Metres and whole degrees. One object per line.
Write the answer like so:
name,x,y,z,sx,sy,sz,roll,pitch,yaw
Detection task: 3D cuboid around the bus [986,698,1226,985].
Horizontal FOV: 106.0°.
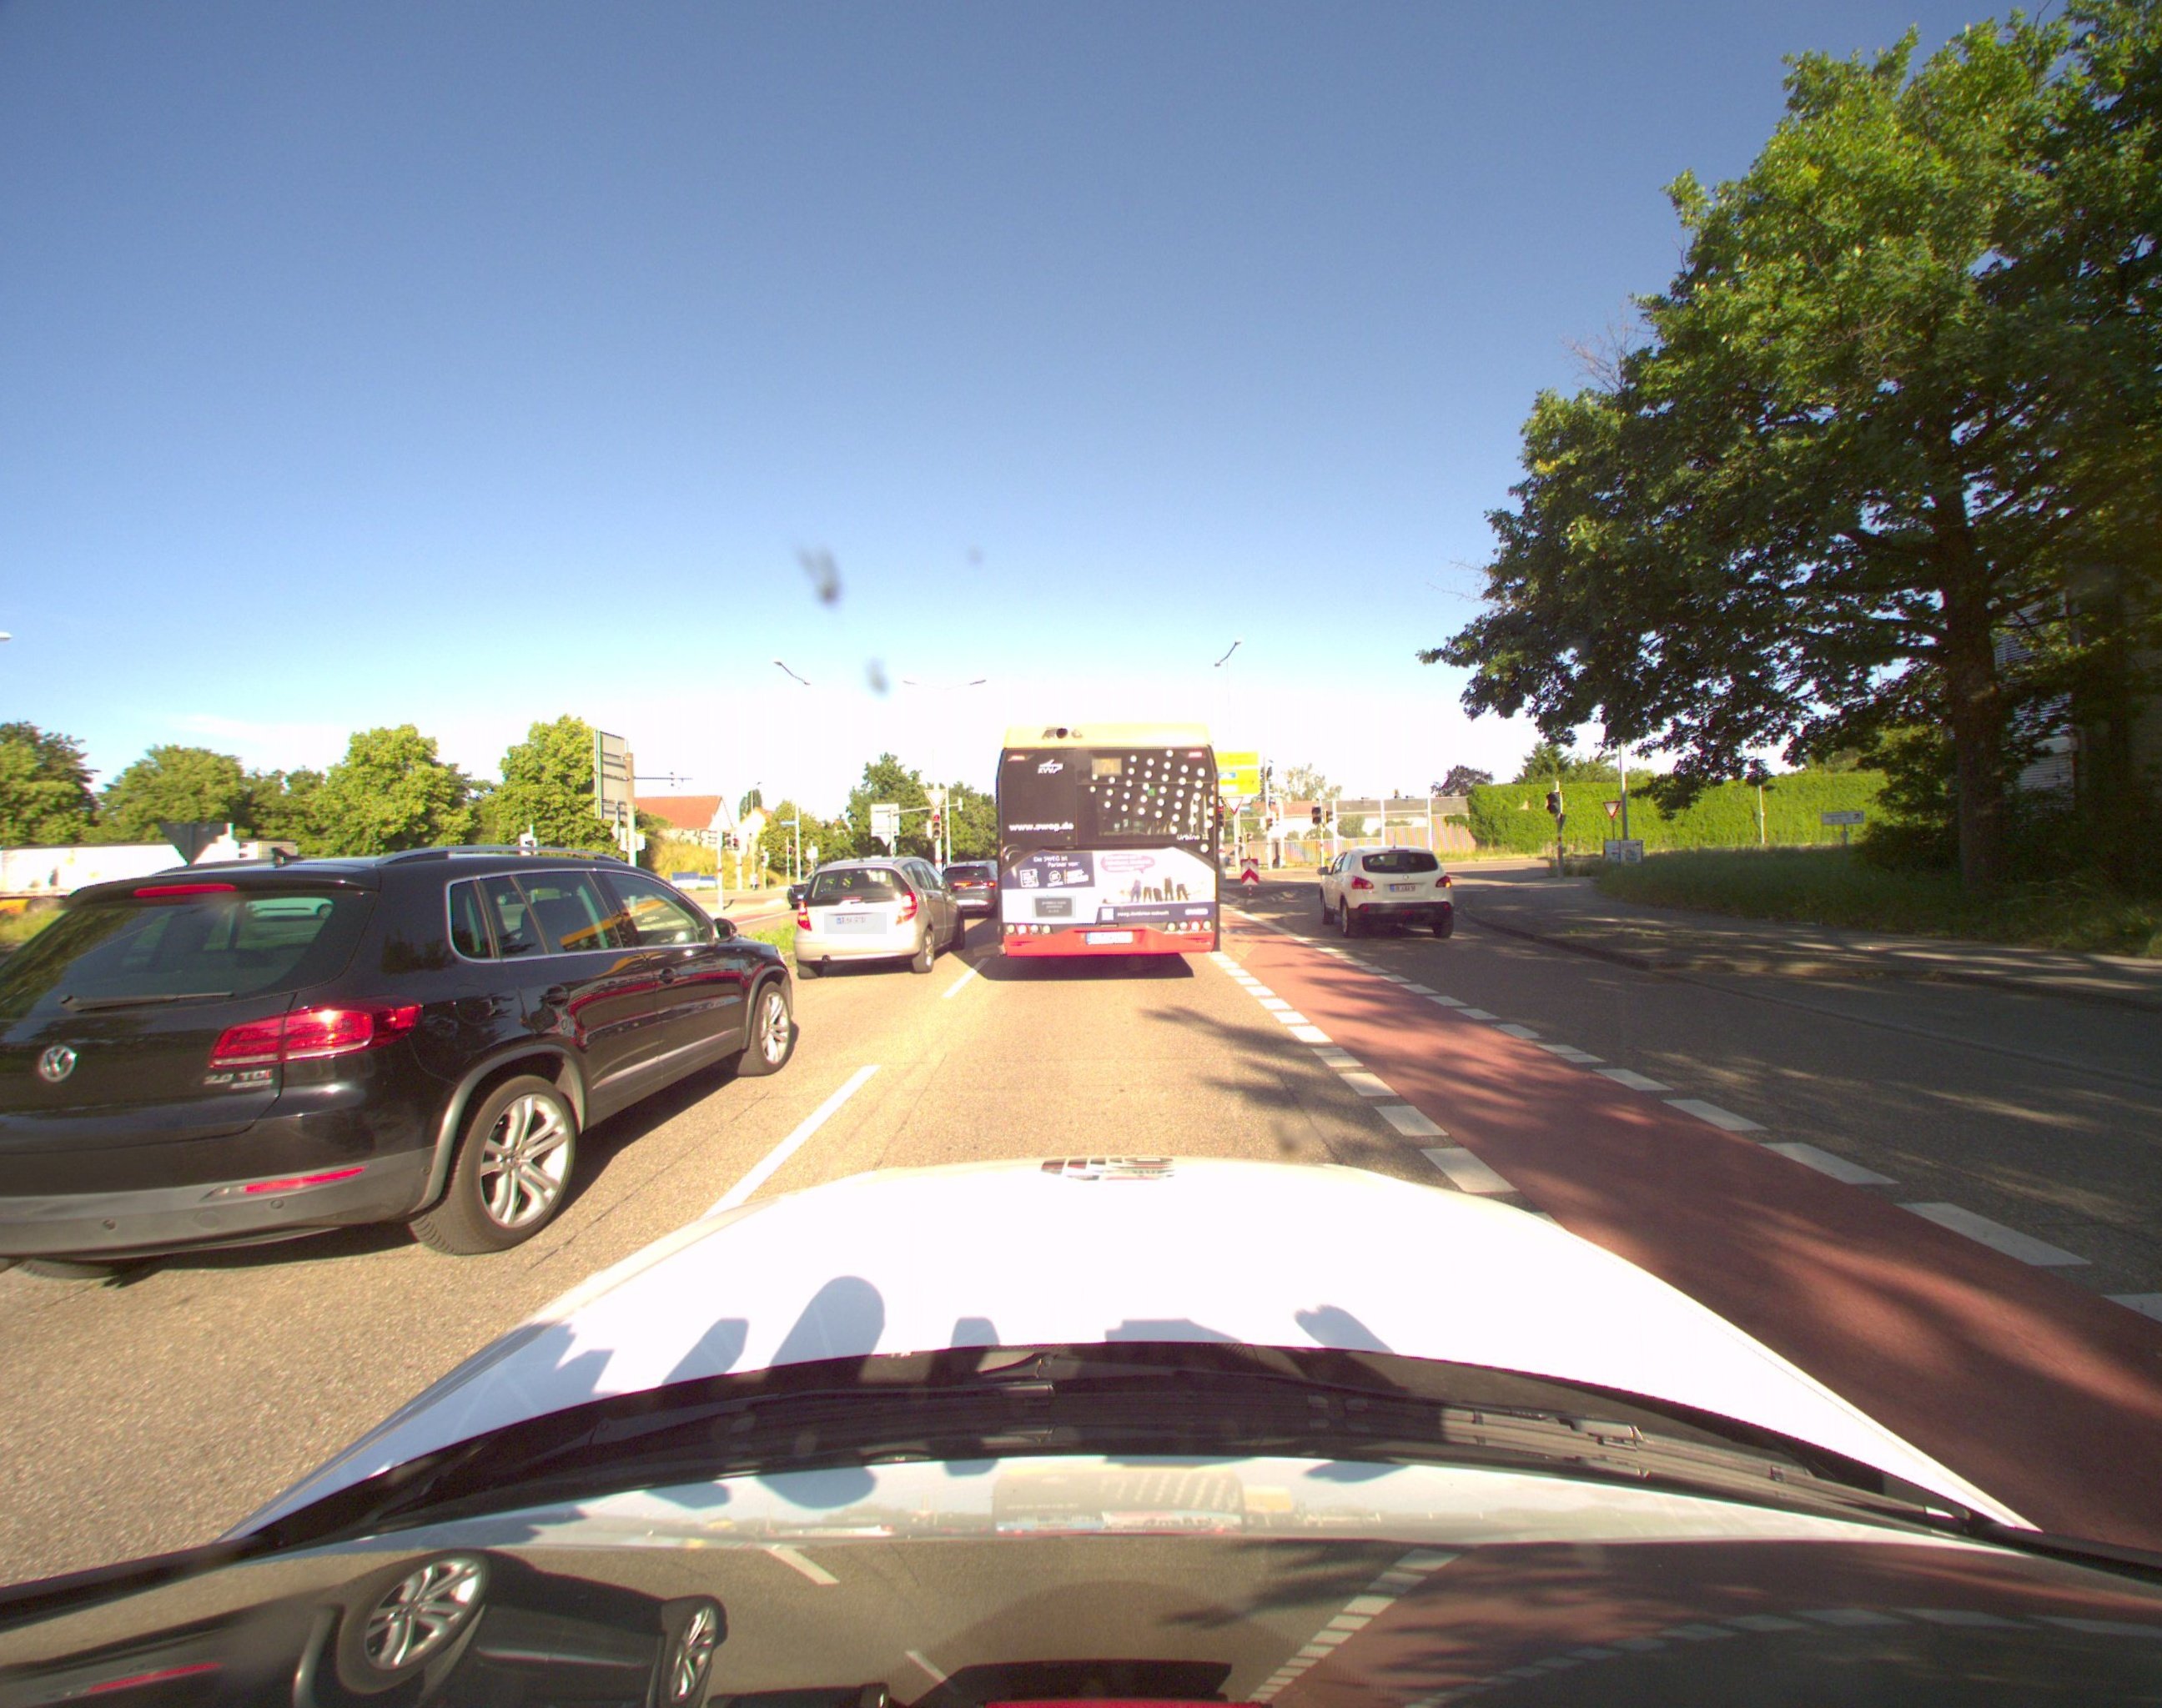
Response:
bus,0.521,-0.167,15.025,2.632,3.167,11.867,-1,0,2

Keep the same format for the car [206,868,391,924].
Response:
car,-32.541,1.706,34.008,5.375,2.118,2.178,-1,-1,-4

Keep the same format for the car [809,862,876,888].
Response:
car,-15.048,1.301,51.582,3.800,1.612,1.704,0,-1,-5

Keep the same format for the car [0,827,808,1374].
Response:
car,-3.173,0.796,4.560,1.766,1.653,4.001,-3,0,1

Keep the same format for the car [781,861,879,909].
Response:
car,-9.116,1.082,29.952,1.752,1.526,4.090,-3,0,8

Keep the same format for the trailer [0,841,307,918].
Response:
trailer,-55.336,1.471,48.333,14.628,4.013,3.435,-2,0,-5

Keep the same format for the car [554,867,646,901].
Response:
car,-24.572,1.532,41.680,3.577,1.560,1.747,-2,0,-5

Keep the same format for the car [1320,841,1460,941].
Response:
car,5.600,0.603,15.232,1.707,1.607,4.079,-1,0,10

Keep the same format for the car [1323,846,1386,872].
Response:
car,19.663,0.363,58.646,3.968,1.816,1.926,0,-1,5

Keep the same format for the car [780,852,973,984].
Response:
car,-2.877,0.821,12.387,1.755,1.589,4.001,-3,0,1

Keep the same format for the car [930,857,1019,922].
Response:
car,-2.690,0.854,21.321,1.686,1.458,3.751,-3,0,1

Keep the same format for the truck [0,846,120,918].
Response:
truck,-61.872,1.662,47.780,6.463,4.013,3.436,-2,0,-4
